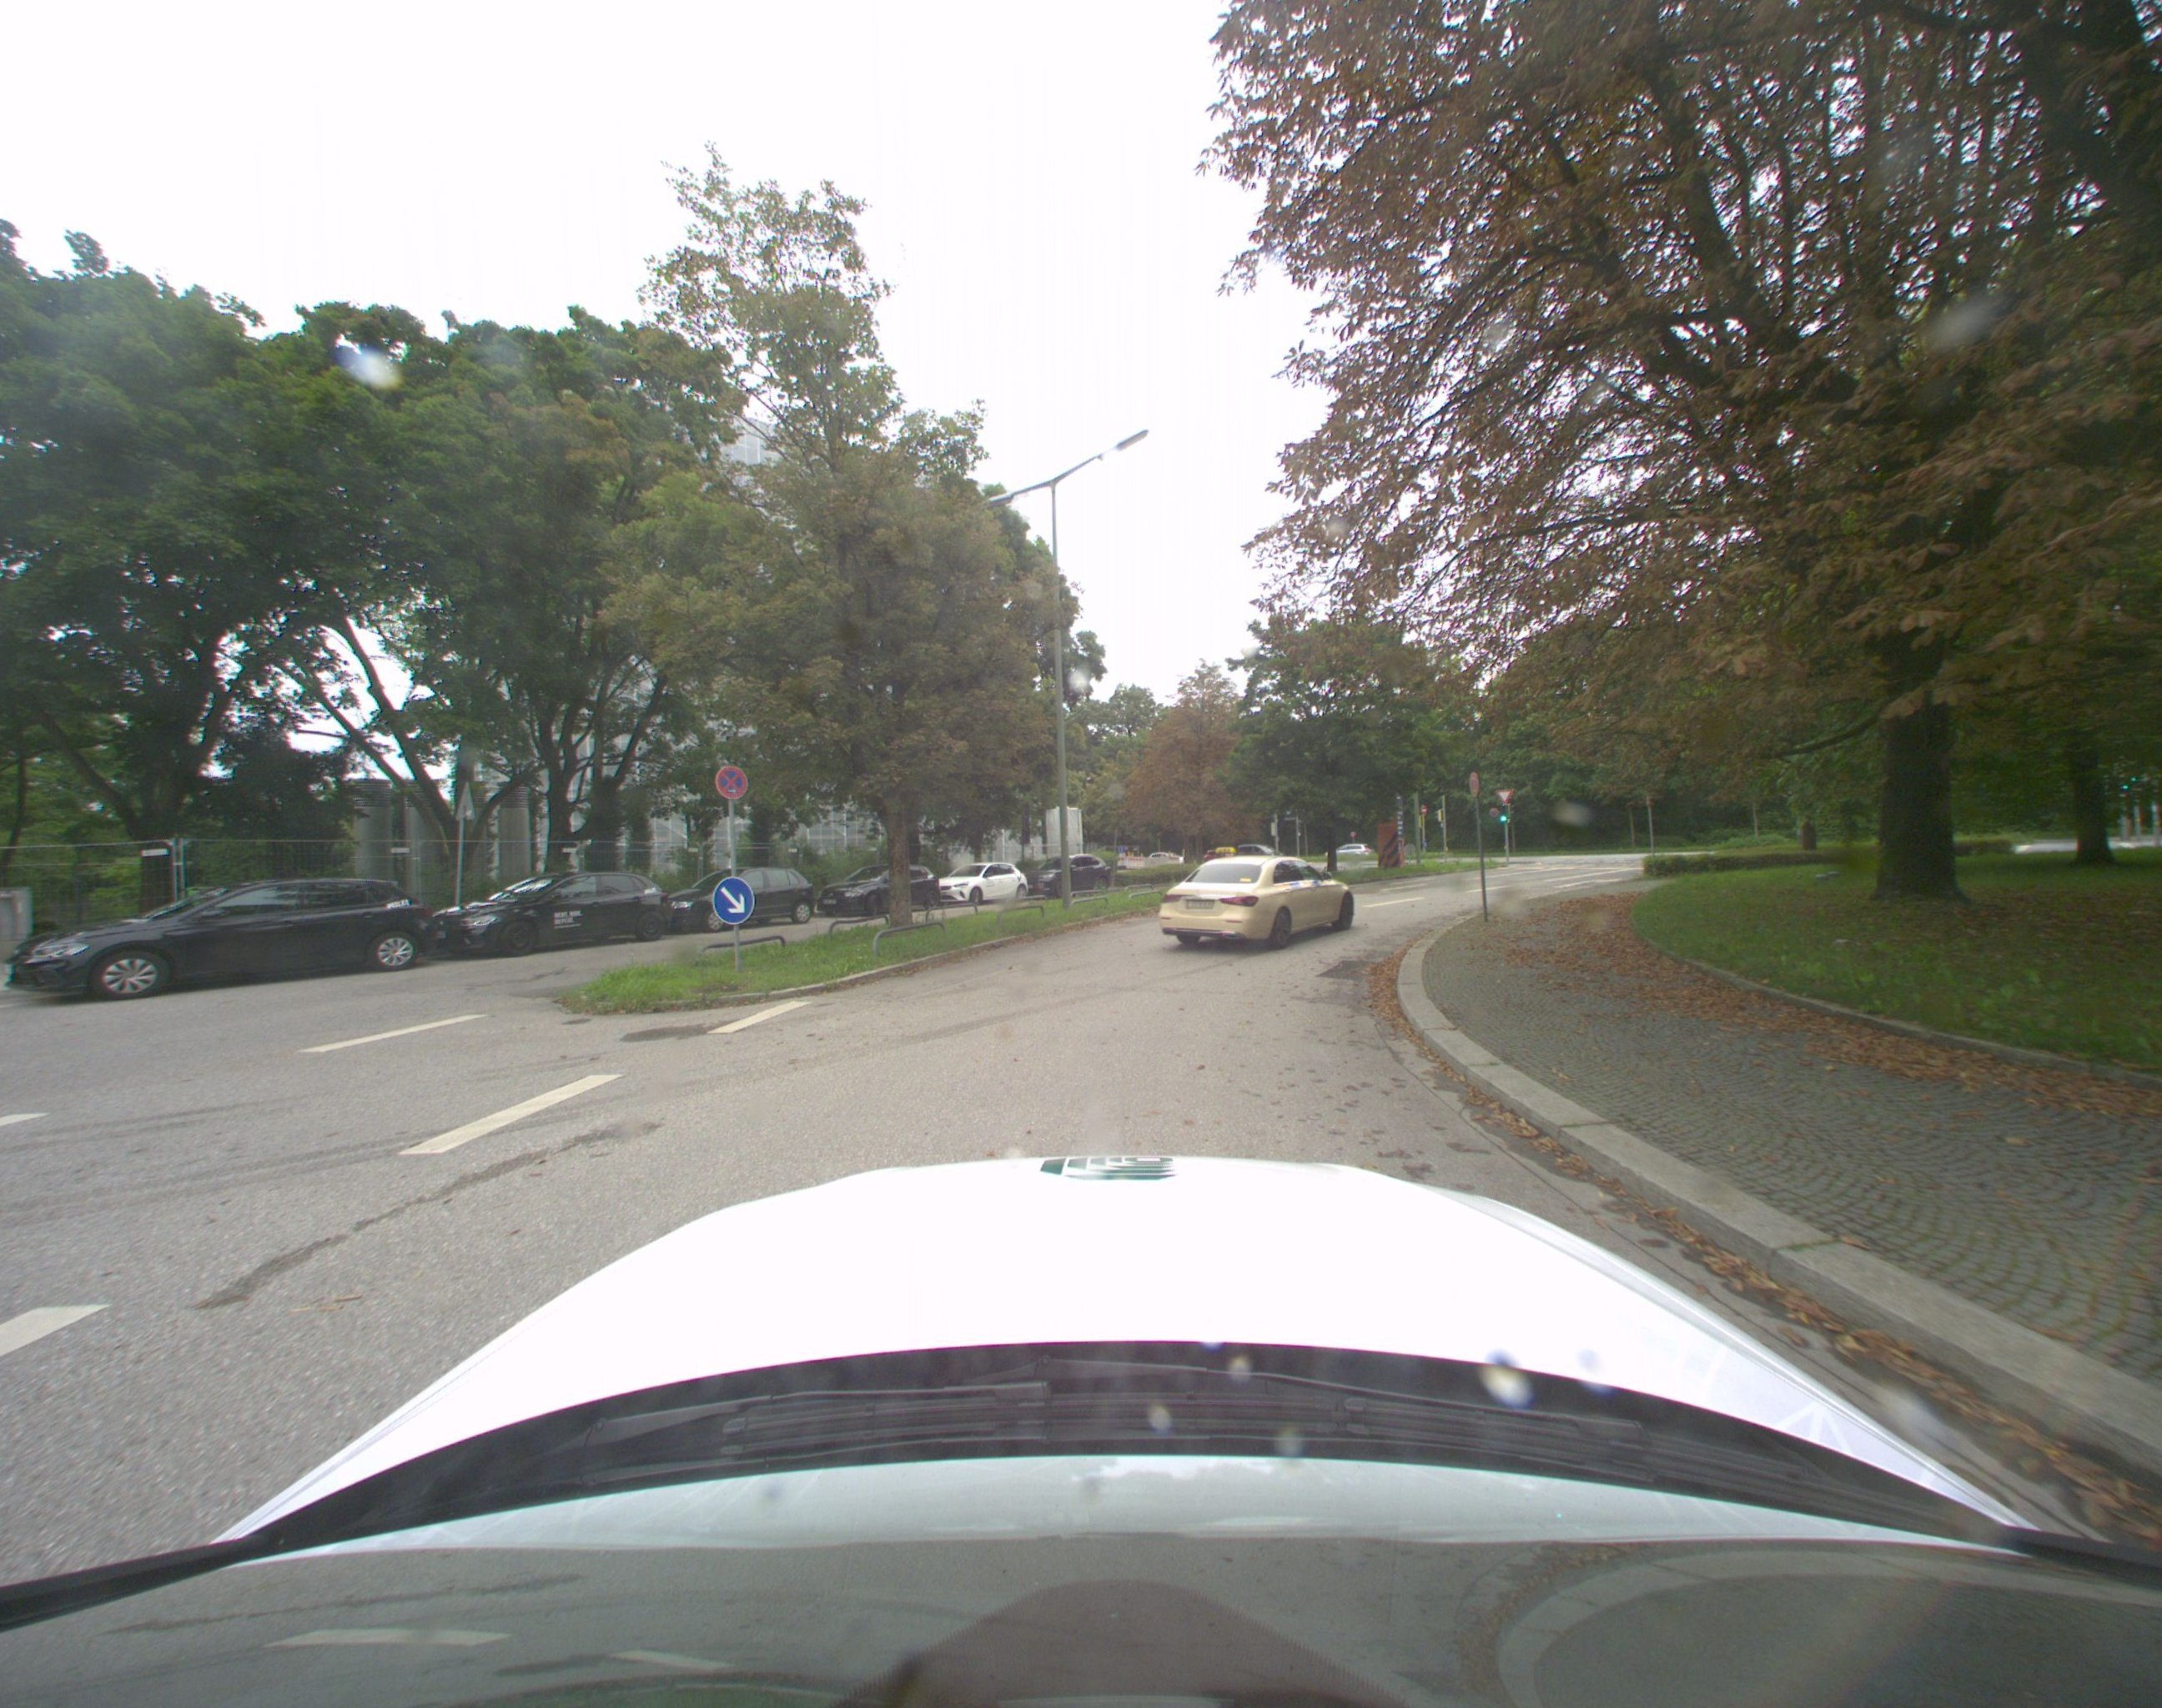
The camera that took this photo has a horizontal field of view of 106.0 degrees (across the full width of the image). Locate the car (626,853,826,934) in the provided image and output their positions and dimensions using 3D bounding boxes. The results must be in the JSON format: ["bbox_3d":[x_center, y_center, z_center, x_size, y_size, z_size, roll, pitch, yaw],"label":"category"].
[{"bbox_3d":[-8.328,0.843,19.480,1.975,1.706,4.024,0,0,27],"label":"car"}]

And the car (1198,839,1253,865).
[{"bbox_3d":[12.053,-0.182,68.033,2.011,2.013,4.106,-1,0,-44],"label":"car"}]

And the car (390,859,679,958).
[{"bbox_3d":[-10.020,0.896,15.285,1.975,1.541,4.024,-1,0,27],"label":"car"}]

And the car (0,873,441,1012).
[{"bbox_3d":[-11.915,1.060,11.489,1.975,1.432,4.067,0,0,28],"label":"car"}]

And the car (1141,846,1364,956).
[{"bbox_3d":[3.207,0.689,14.331,1.869,1.545,4.885,-2,0,37],"label":"car"}]

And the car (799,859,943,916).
[{"bbox_3d":[-6.028,0.934,23.820,1.817,1.461,4.030,-3,-1,27],"label":"car"}]

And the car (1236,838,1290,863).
[{"bbox_3d":[15.355,-0.275,68.665,2.011,2.013,3.951,-1,0,-44],"label":"car"}]

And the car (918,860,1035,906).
[{"bbox_3d":[-3.517,0.979,28.156,1.779,1.383,4.245,-3,-1,30],"label":"car"}]

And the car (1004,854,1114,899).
[{"bbox_3d":[-0.785,0.863,31.706,1.867,1.606,4.424,-3,-3,38],"label":"car"}]

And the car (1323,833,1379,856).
[{"bbox_3d":[23.062,-0.810,69.679,2.010,1.750,4.077,-2,0,-39],"label":"car"}]
